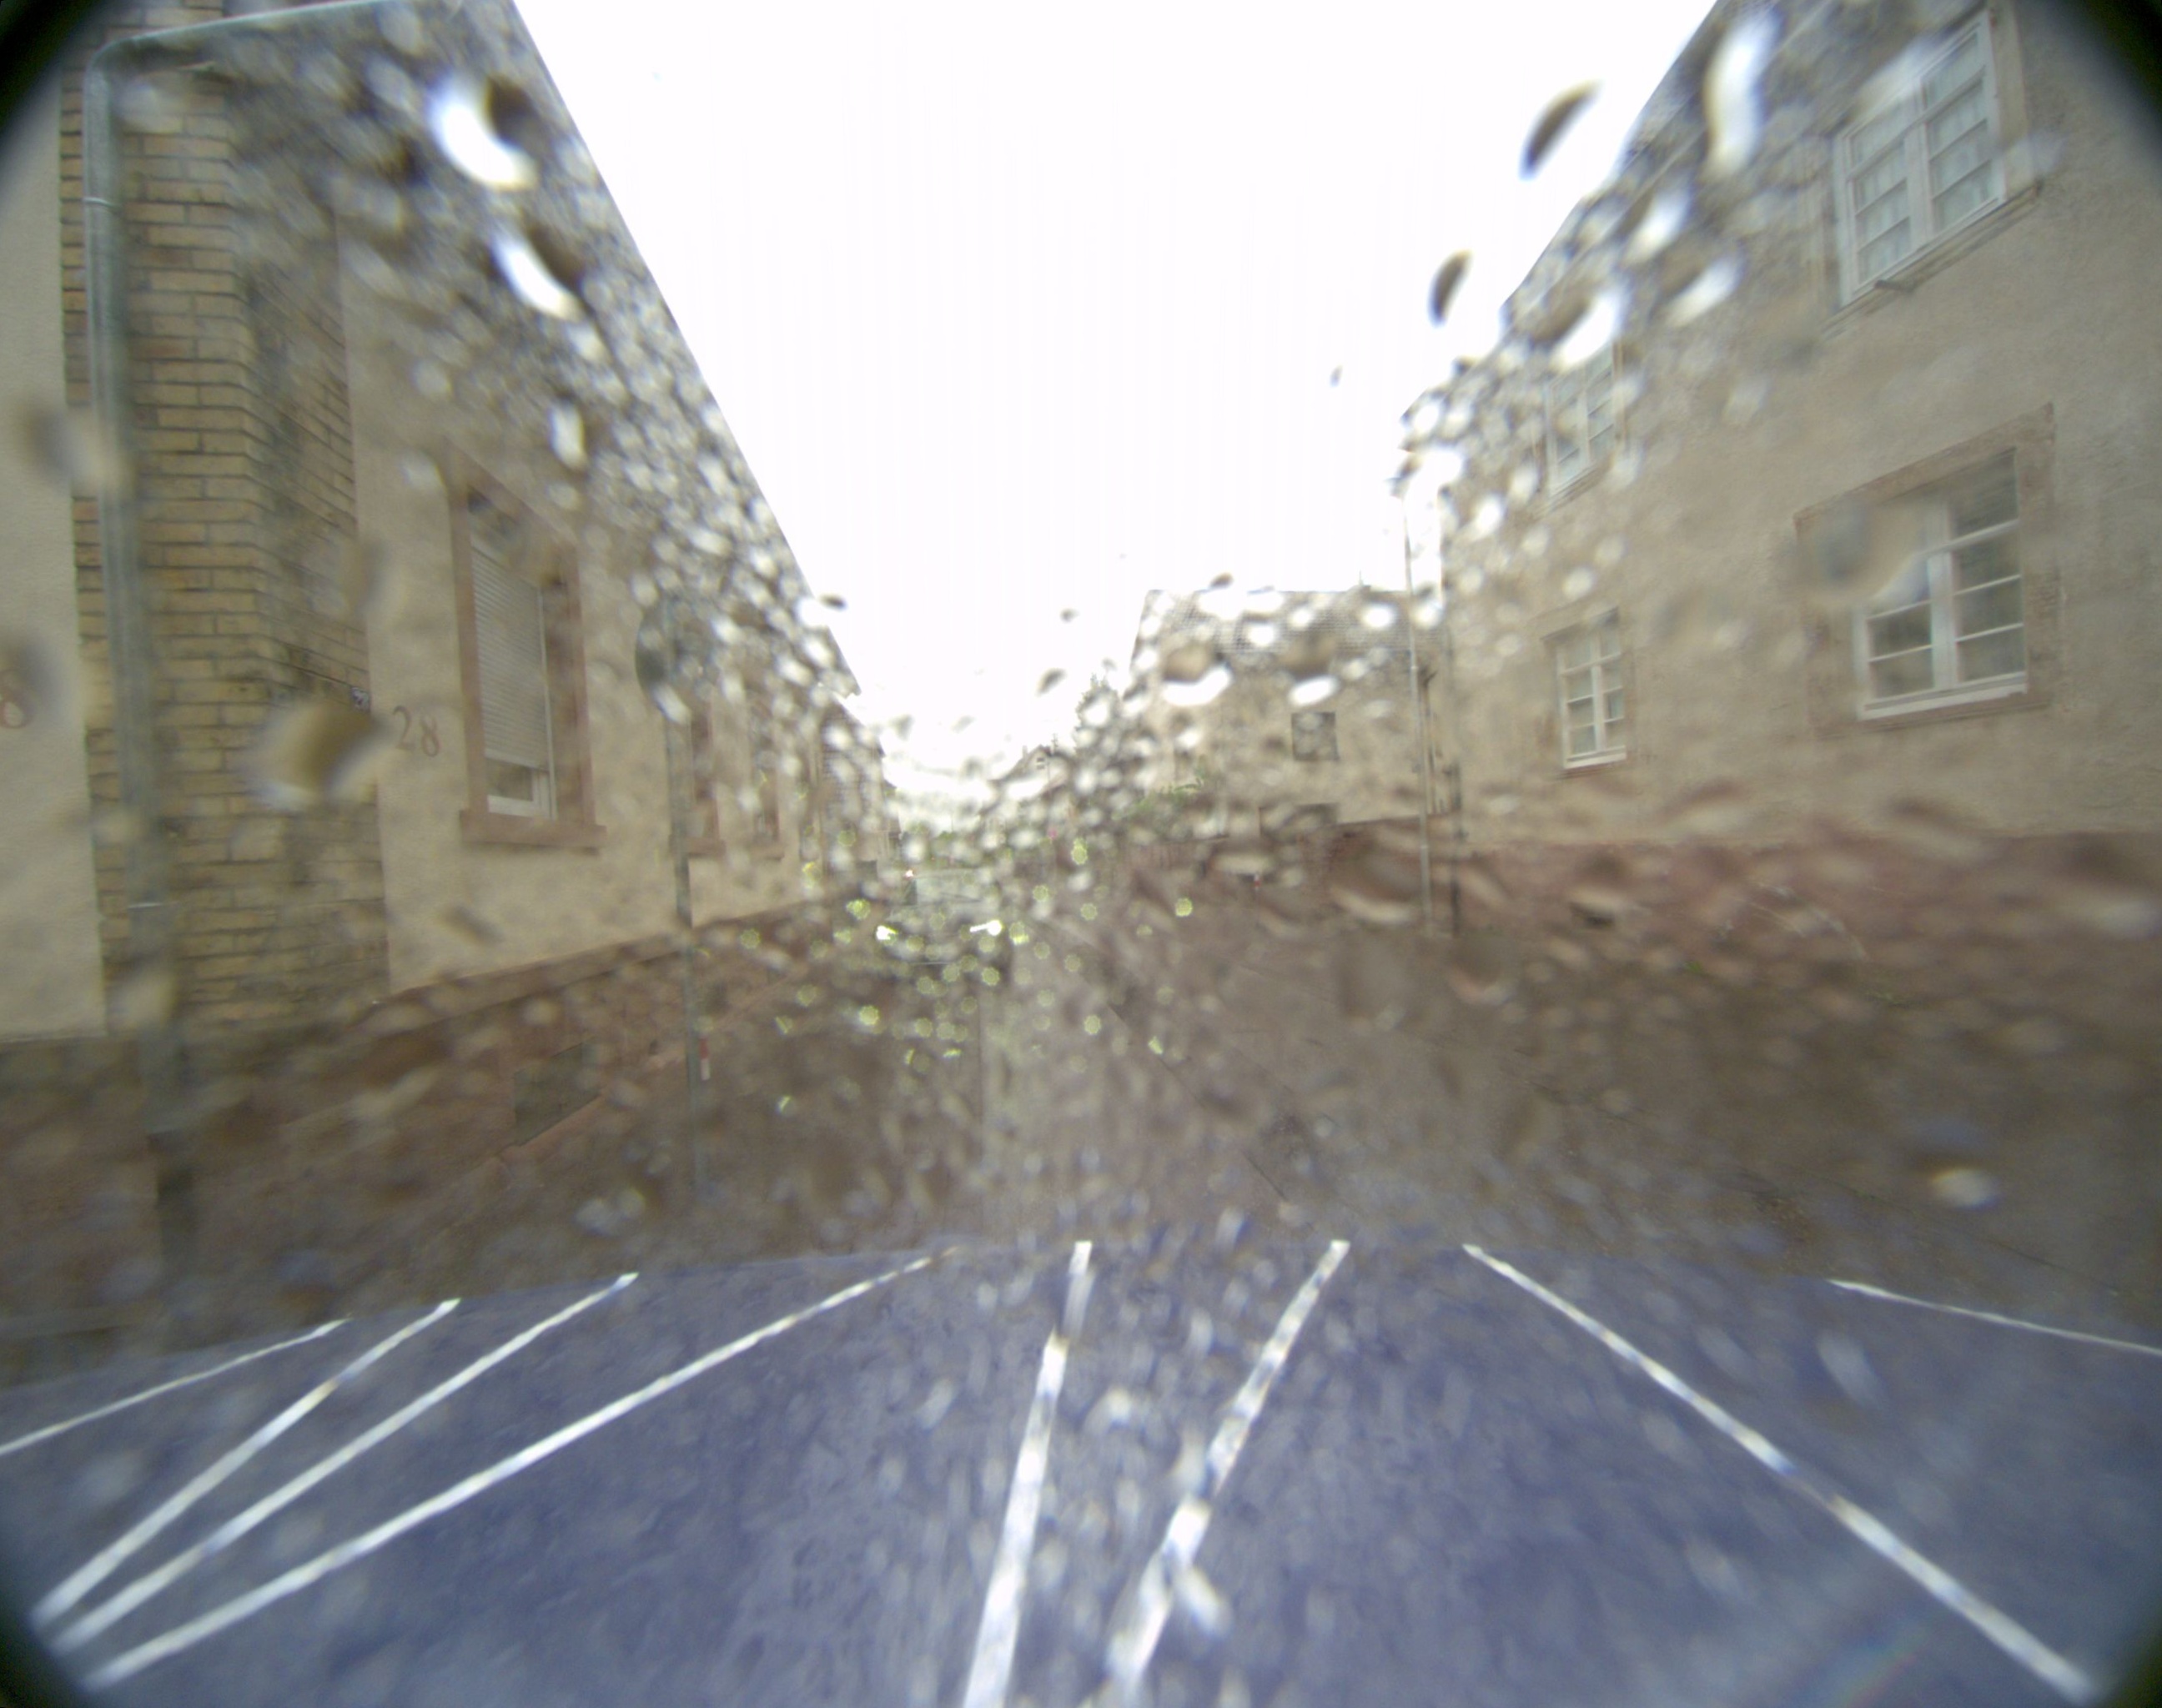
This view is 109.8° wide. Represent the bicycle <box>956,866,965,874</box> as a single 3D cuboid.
[{"bbox_3d":[-13.889,1.867,87.563,0.664,0.865,1.932,-5,-1,-19],"label":"bicycle"}]

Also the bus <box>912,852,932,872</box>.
[{"bbox_3d":[-26.124,1.262,124.529,2.816,2.922,11.929,-5,1,-12],"label":"bus"}]

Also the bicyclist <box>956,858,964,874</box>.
[{"bbox_3d":[-13.949,1.414,87.603,0.659,1.759,0.702,-5,-1,-18],"label":"bicyclist"}]

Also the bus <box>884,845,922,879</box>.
[{"bbox_3d":[-20.306,0.875,85.862,3.445,3.392,13.852,-4,1,-15],"label":"bus"}]

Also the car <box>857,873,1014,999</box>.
[{"bbox_3d":[-1.962,1.052,11.427,1.781,1.348,4.187,-5,-1,-5],"label":"car"}]

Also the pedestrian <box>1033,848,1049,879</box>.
[{"bbox_3d":[-2.336,0.561,44.255,0.697,1.722,0.820,-4,1,-16],"label":"pedestrian"}]
